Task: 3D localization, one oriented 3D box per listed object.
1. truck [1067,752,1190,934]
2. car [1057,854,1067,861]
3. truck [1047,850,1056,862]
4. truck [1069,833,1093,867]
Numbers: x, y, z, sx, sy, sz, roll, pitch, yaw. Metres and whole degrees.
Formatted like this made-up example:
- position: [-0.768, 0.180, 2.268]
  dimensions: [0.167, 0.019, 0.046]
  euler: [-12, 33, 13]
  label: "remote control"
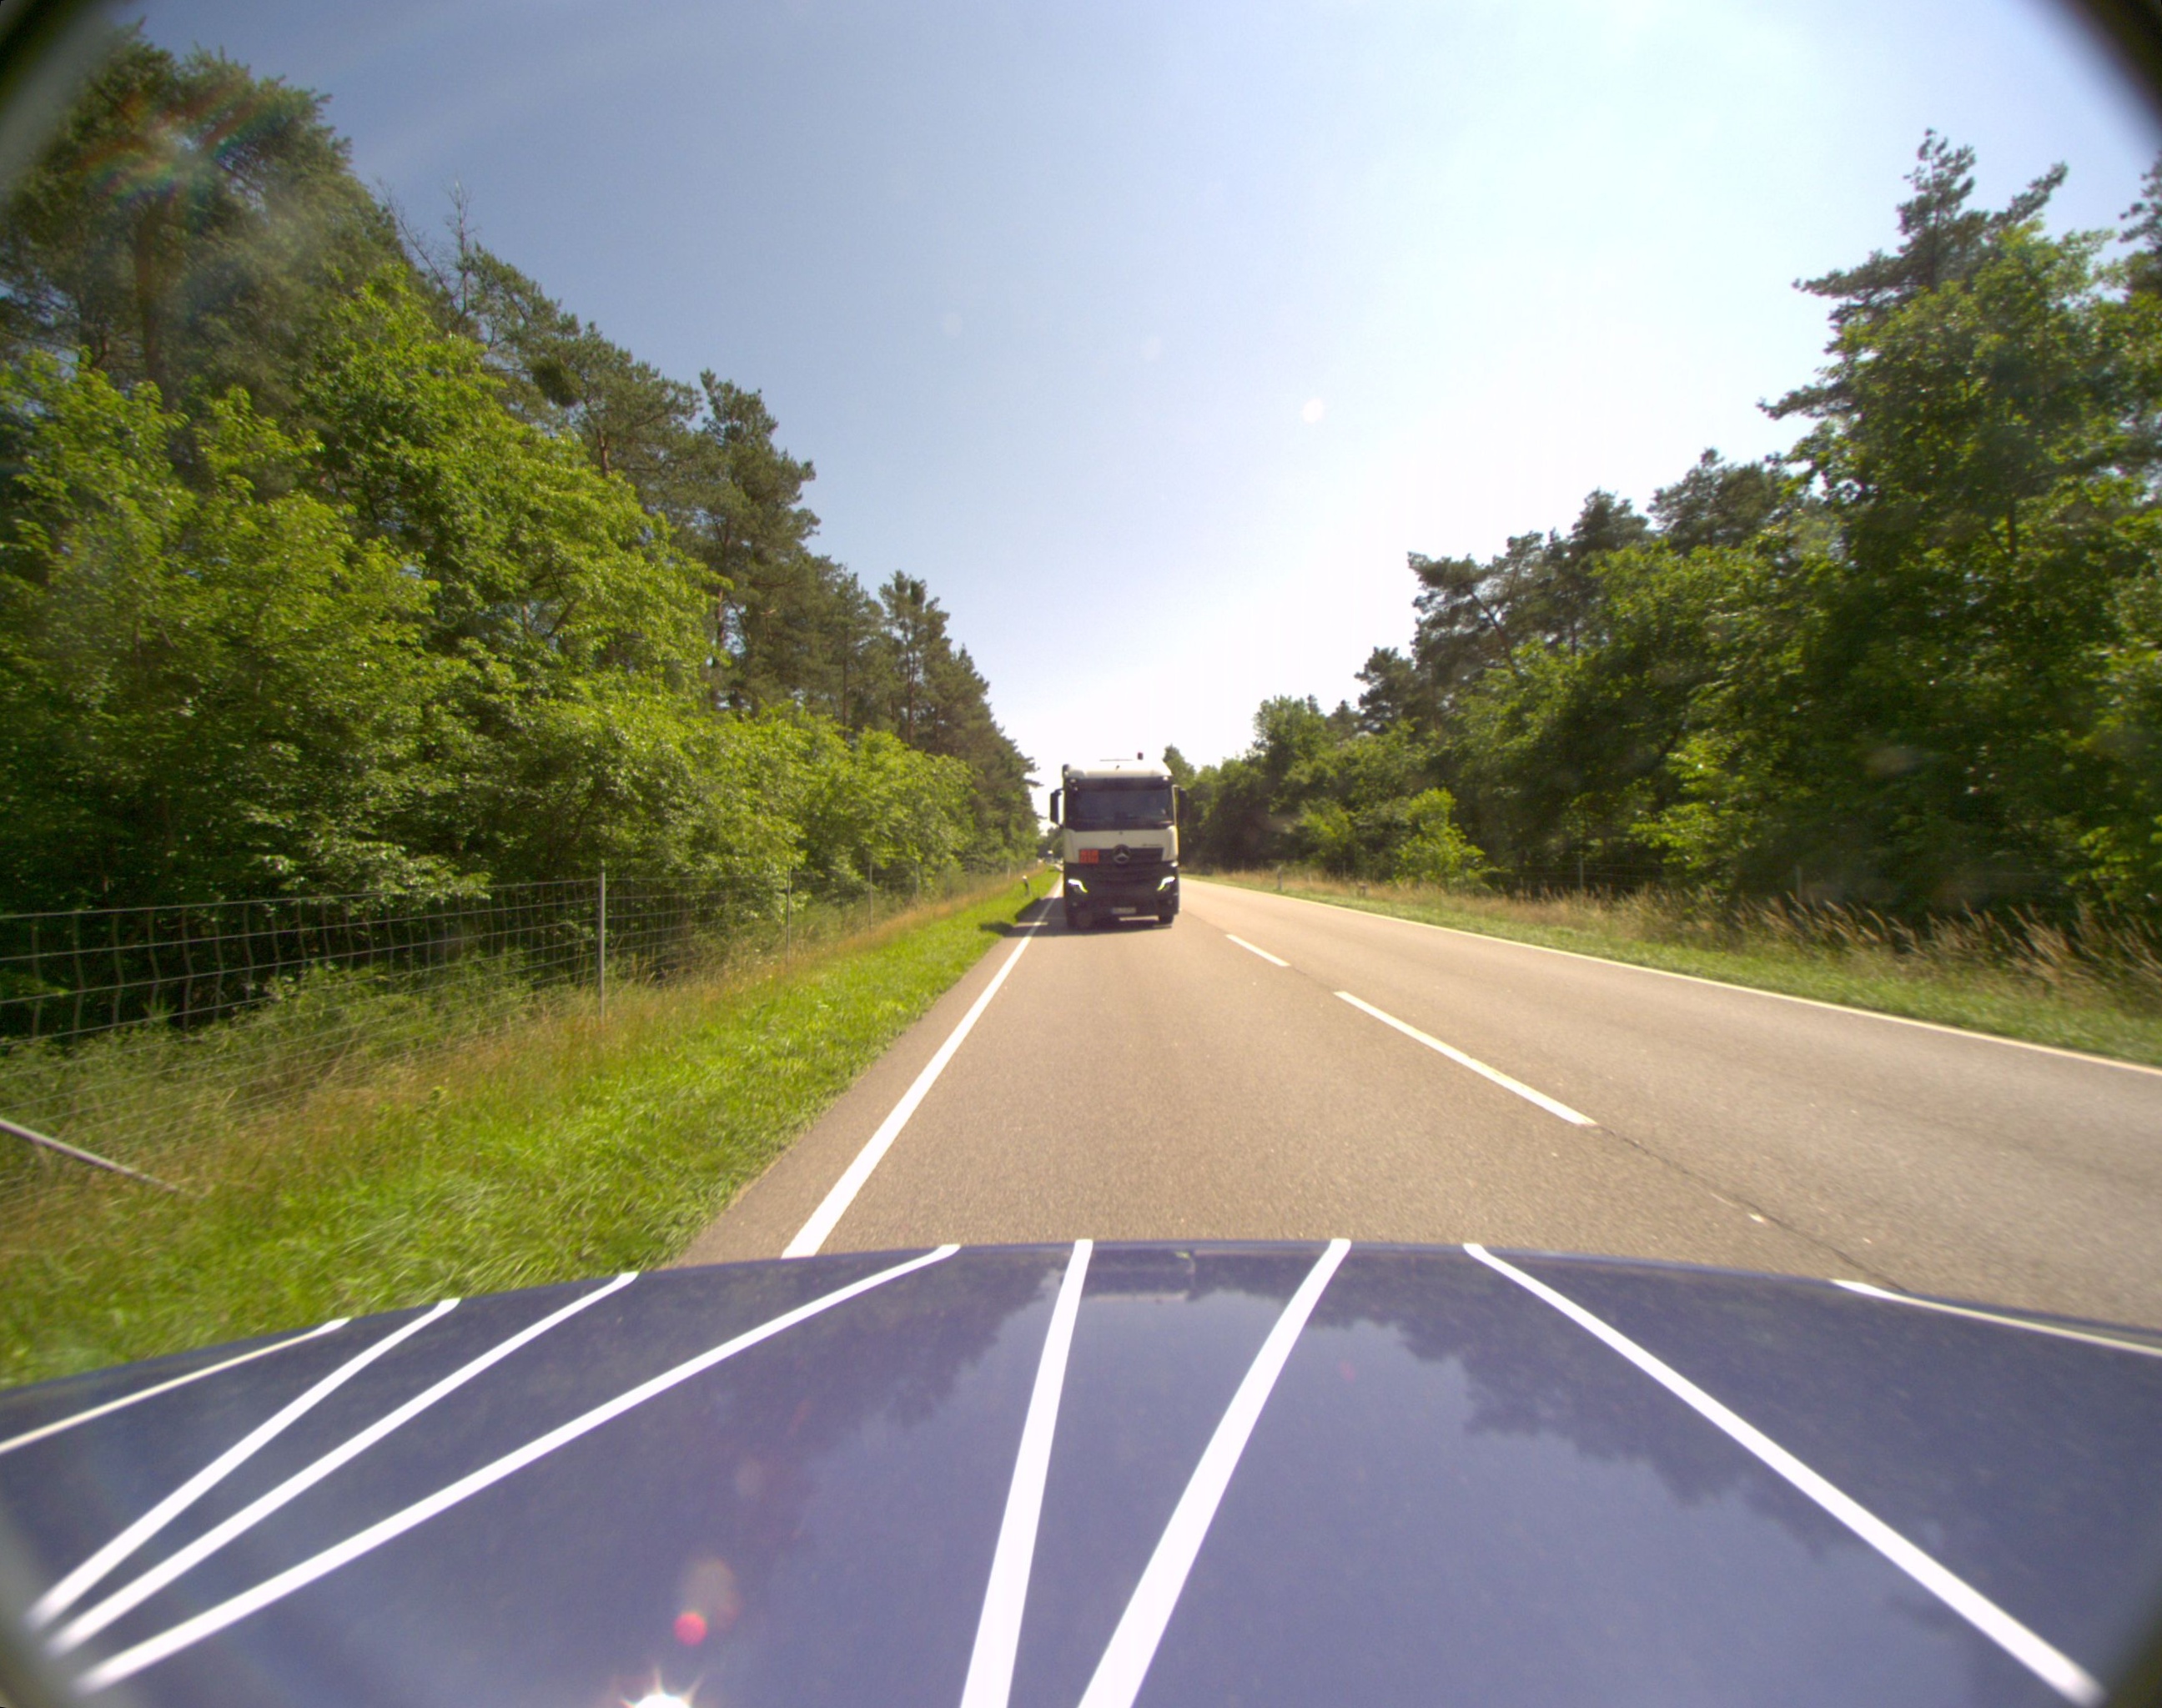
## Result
- position: [0.919, -0.206, 18.882]
  dimensions: [2.435, 3.672, 6.456]
  euler: [-2, 0, -1]
  label: "truck"
- position: [-3.888, 0.690, 157.445]
  dimensions: [1.885, 1.462, 3.998]
  euler: [-1, 0, -3]
  label: "car"
- position: [-9.580, 0.702, 243.239]
  dimensions: [2.495, 3.619, 6.100]
  euler: [-1, 0, -6]
  label: "truck"
- position: [-0.040, -0.396, 86.179]
  dimensions: [2.494, 3.618, 6.103]
  euler: [-2, 0, 0]
  label: "truck"
